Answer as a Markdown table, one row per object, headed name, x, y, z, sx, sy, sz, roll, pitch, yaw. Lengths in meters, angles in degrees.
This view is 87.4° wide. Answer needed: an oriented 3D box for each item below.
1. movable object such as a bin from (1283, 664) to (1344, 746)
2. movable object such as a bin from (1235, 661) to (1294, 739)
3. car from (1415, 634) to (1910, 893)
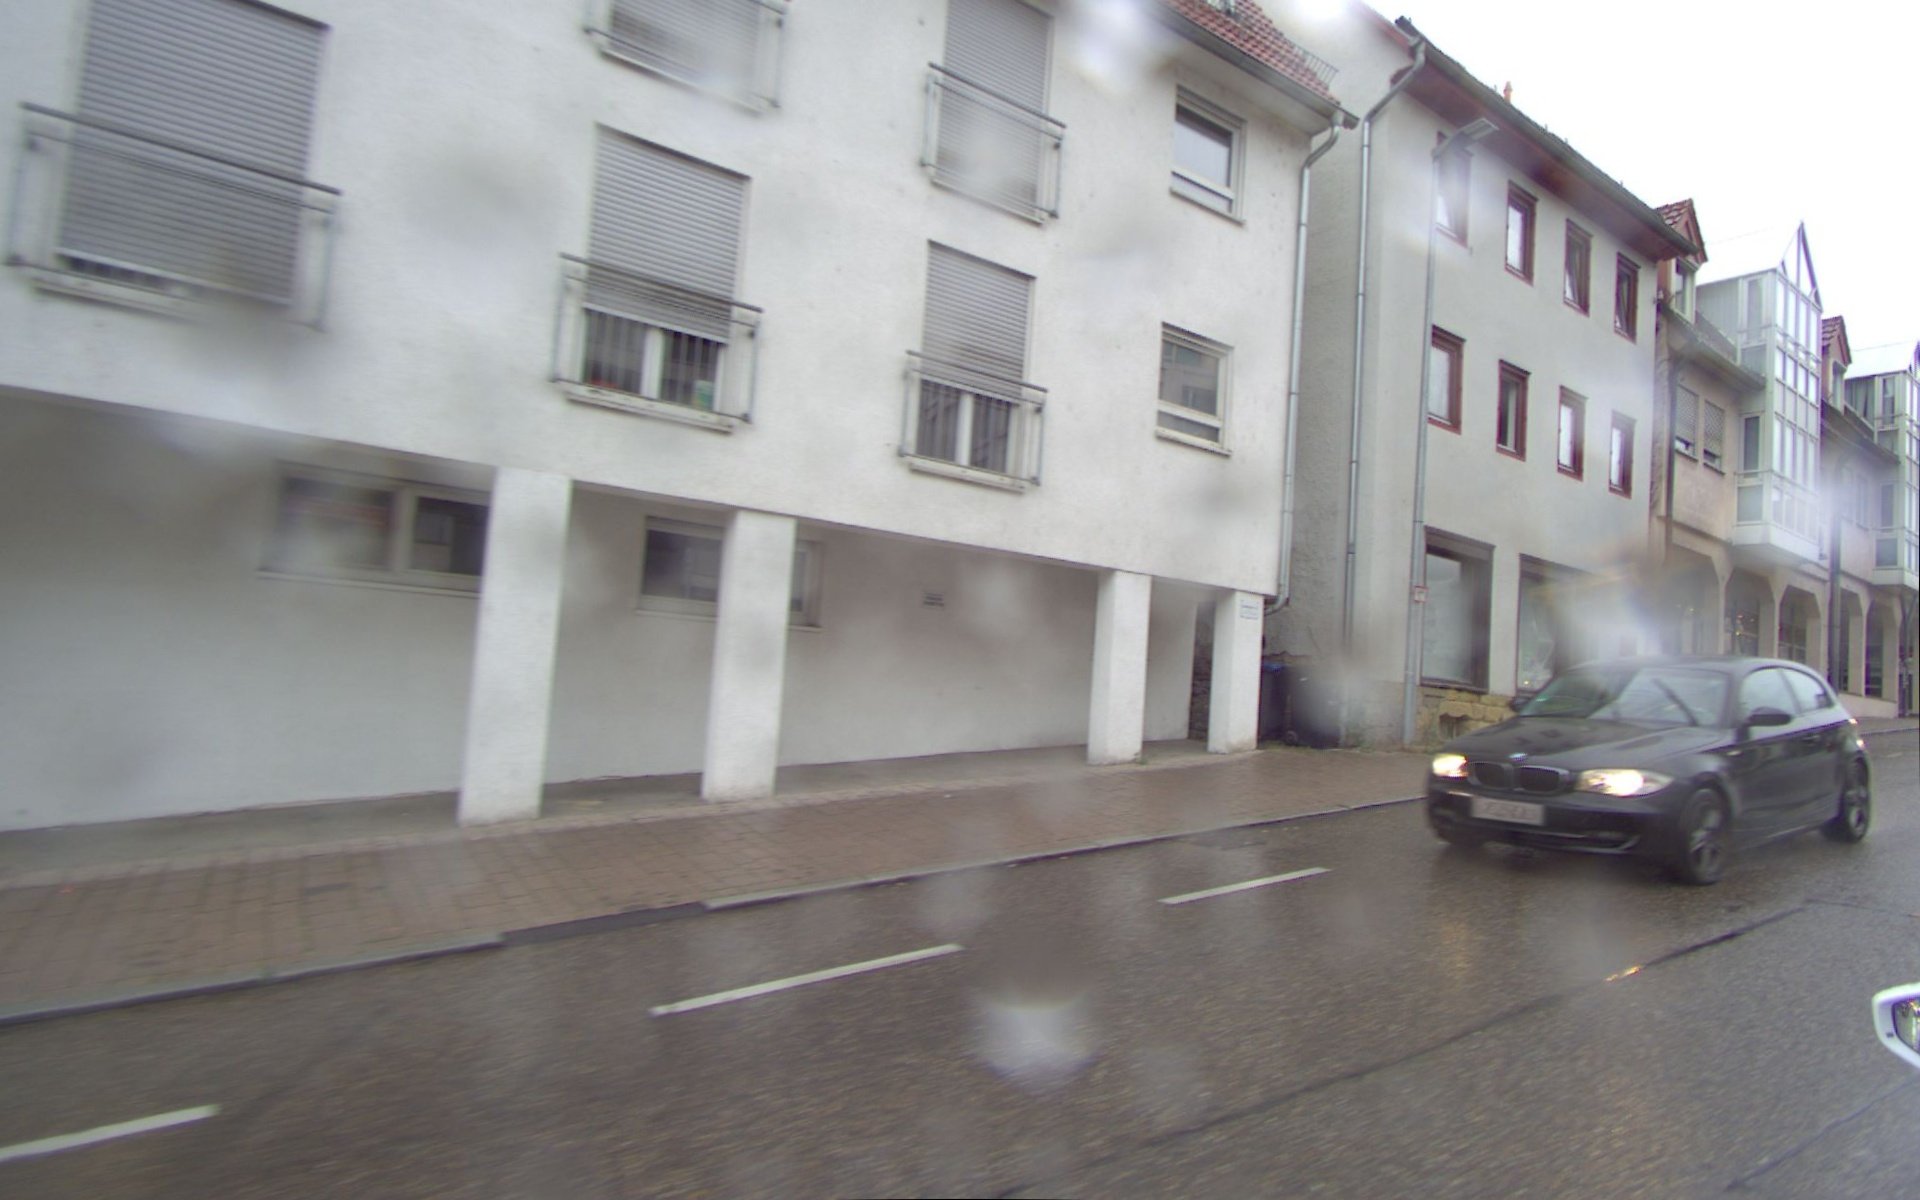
| name | x | y | z | sx | sy | sz | roll | pitch | yaw |
| --- | --- | --- | --- | --- | --- | --- | --- | --- | --- |
| movable object such as a bin | 4.614 | 1.353 | 13.102 | 0.579 | 1.020 | 0.505 | 2 | -1 | -33 |
| movable object such as a bin | 4.153 | 1.350 | 13.704 | 0.579 | 1.020 | 0.505 | 2 | -1 | -33 |
| car | 5.316 | 1.015 | 7.495 | 3.867 | 1.463 | 1.678 | 2 | -2 | -32 |
